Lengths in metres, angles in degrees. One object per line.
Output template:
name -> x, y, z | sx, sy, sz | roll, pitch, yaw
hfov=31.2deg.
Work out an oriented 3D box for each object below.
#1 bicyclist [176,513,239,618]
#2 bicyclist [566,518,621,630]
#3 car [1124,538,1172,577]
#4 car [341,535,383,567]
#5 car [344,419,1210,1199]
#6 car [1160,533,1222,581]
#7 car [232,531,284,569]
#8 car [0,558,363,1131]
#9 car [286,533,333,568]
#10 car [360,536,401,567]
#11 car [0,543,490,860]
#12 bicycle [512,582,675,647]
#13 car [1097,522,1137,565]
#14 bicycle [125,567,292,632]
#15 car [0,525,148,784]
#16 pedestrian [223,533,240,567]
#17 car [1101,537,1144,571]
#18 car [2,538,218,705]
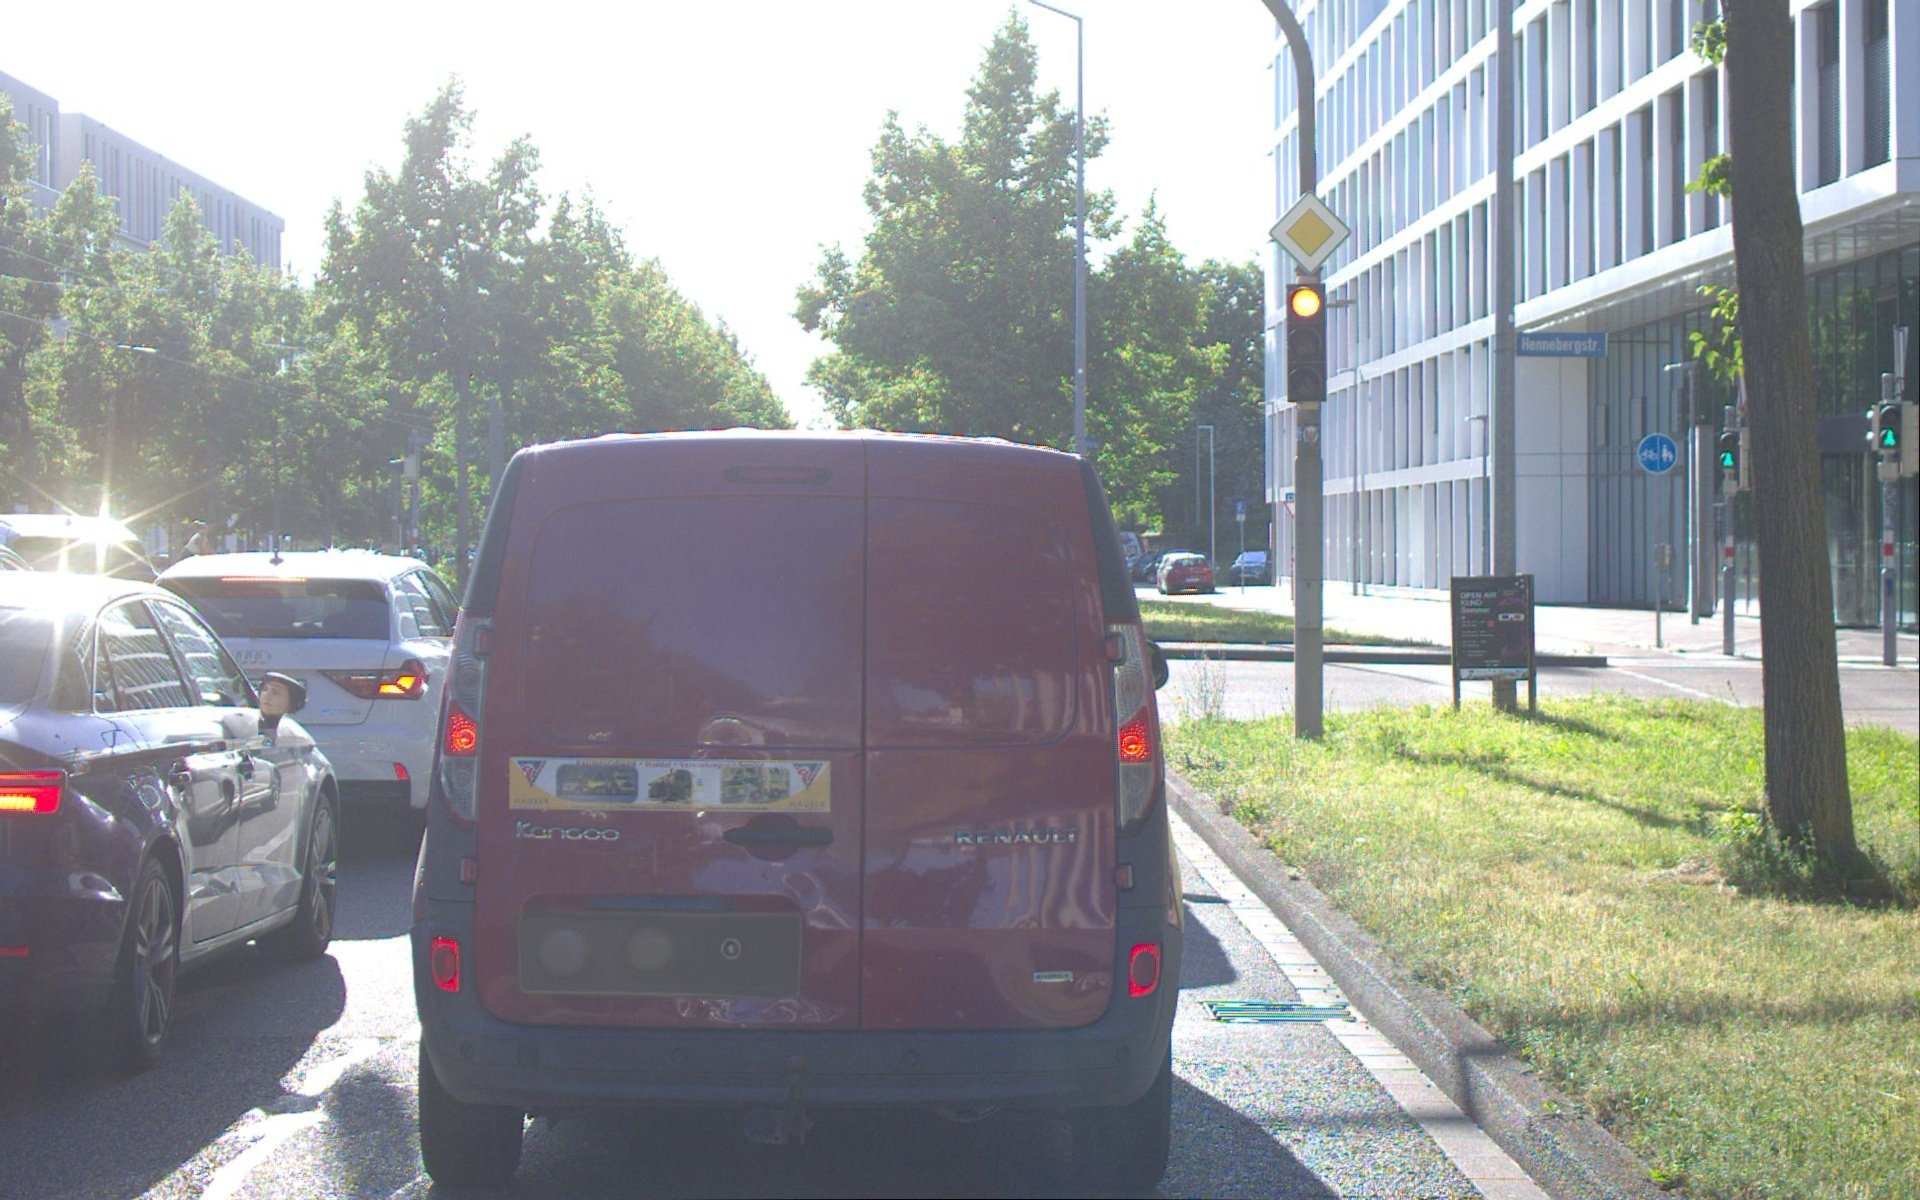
bicyclist -> -14.046, -0.652, 64.170 | 0.998, 1.940, 0.818 | 0, 1, -1
bicyclist -> -6.819, -0.486, 64.020 | 0.940, 2.085, 0.818 | 0, 1, -1
car -> 8.773, -1.994, 160.627 | 1.993, 1.776, 4.000 | 0, 1, -1
car -> -37.776, -3.098, 217.246 | 1.993, 2.007, 4.000 | 0, 1, -1
car -> -0.416, 0.468, 9.327 | 1.842, 1.774, 4.000 | 0, 1, -1
car -> 8.571, -1.619, 127.888 | 1.993, 1.776, 4.000 | 0, 1, -1
car -> -37.241, -2.671, 182.413 | 1.993, 2.007, 4.000 | 0, 1, -1
car -> -3.159, 0.594, 10.876 | 1.842, 1.421, 4.339 | 0, 1, -1
car -> -37.693, -2.884, 199.228 | 1.993, 2.007, 4.000 | 0, 1, -1
car -> -37.565, -3.155, 222.870 | 1.993, 2.007, 4.000 | 0, 1, -1
car -> -3.544, 0.429, 17.541 | 1.803, 1.421, 3.901 | 0, 1, -1
bicycle -> -6.811, 0.264, 64.020 | 2.942, 1.186, 0.818 | 0, 1, 0
car -> 9.056, -3.259, 198.334 | 1.993, 2.488, 4.987 | 0, 1, -1
bicycle -> -14.015, -0.014, 64.164 | 2.942, 1.186, 0.818 | 0, 1, 0
car -> -6.248, 0.284, 20.323 | 1.799, 1.442, 4.569 | 0, 1, 0
pedestrian -> -42.745, -2.918, 201.722 | 0.806, 2.007, 0.871 | 0, 1, -1
car -> 8.473, -2.427, 179.824 | 1.993, 1.776, 4.000 | 0, 1, -1
car -> -8.068, 0.164, 32.389 | 1.798, 1.442, 4.570 | 1, 0, -16
